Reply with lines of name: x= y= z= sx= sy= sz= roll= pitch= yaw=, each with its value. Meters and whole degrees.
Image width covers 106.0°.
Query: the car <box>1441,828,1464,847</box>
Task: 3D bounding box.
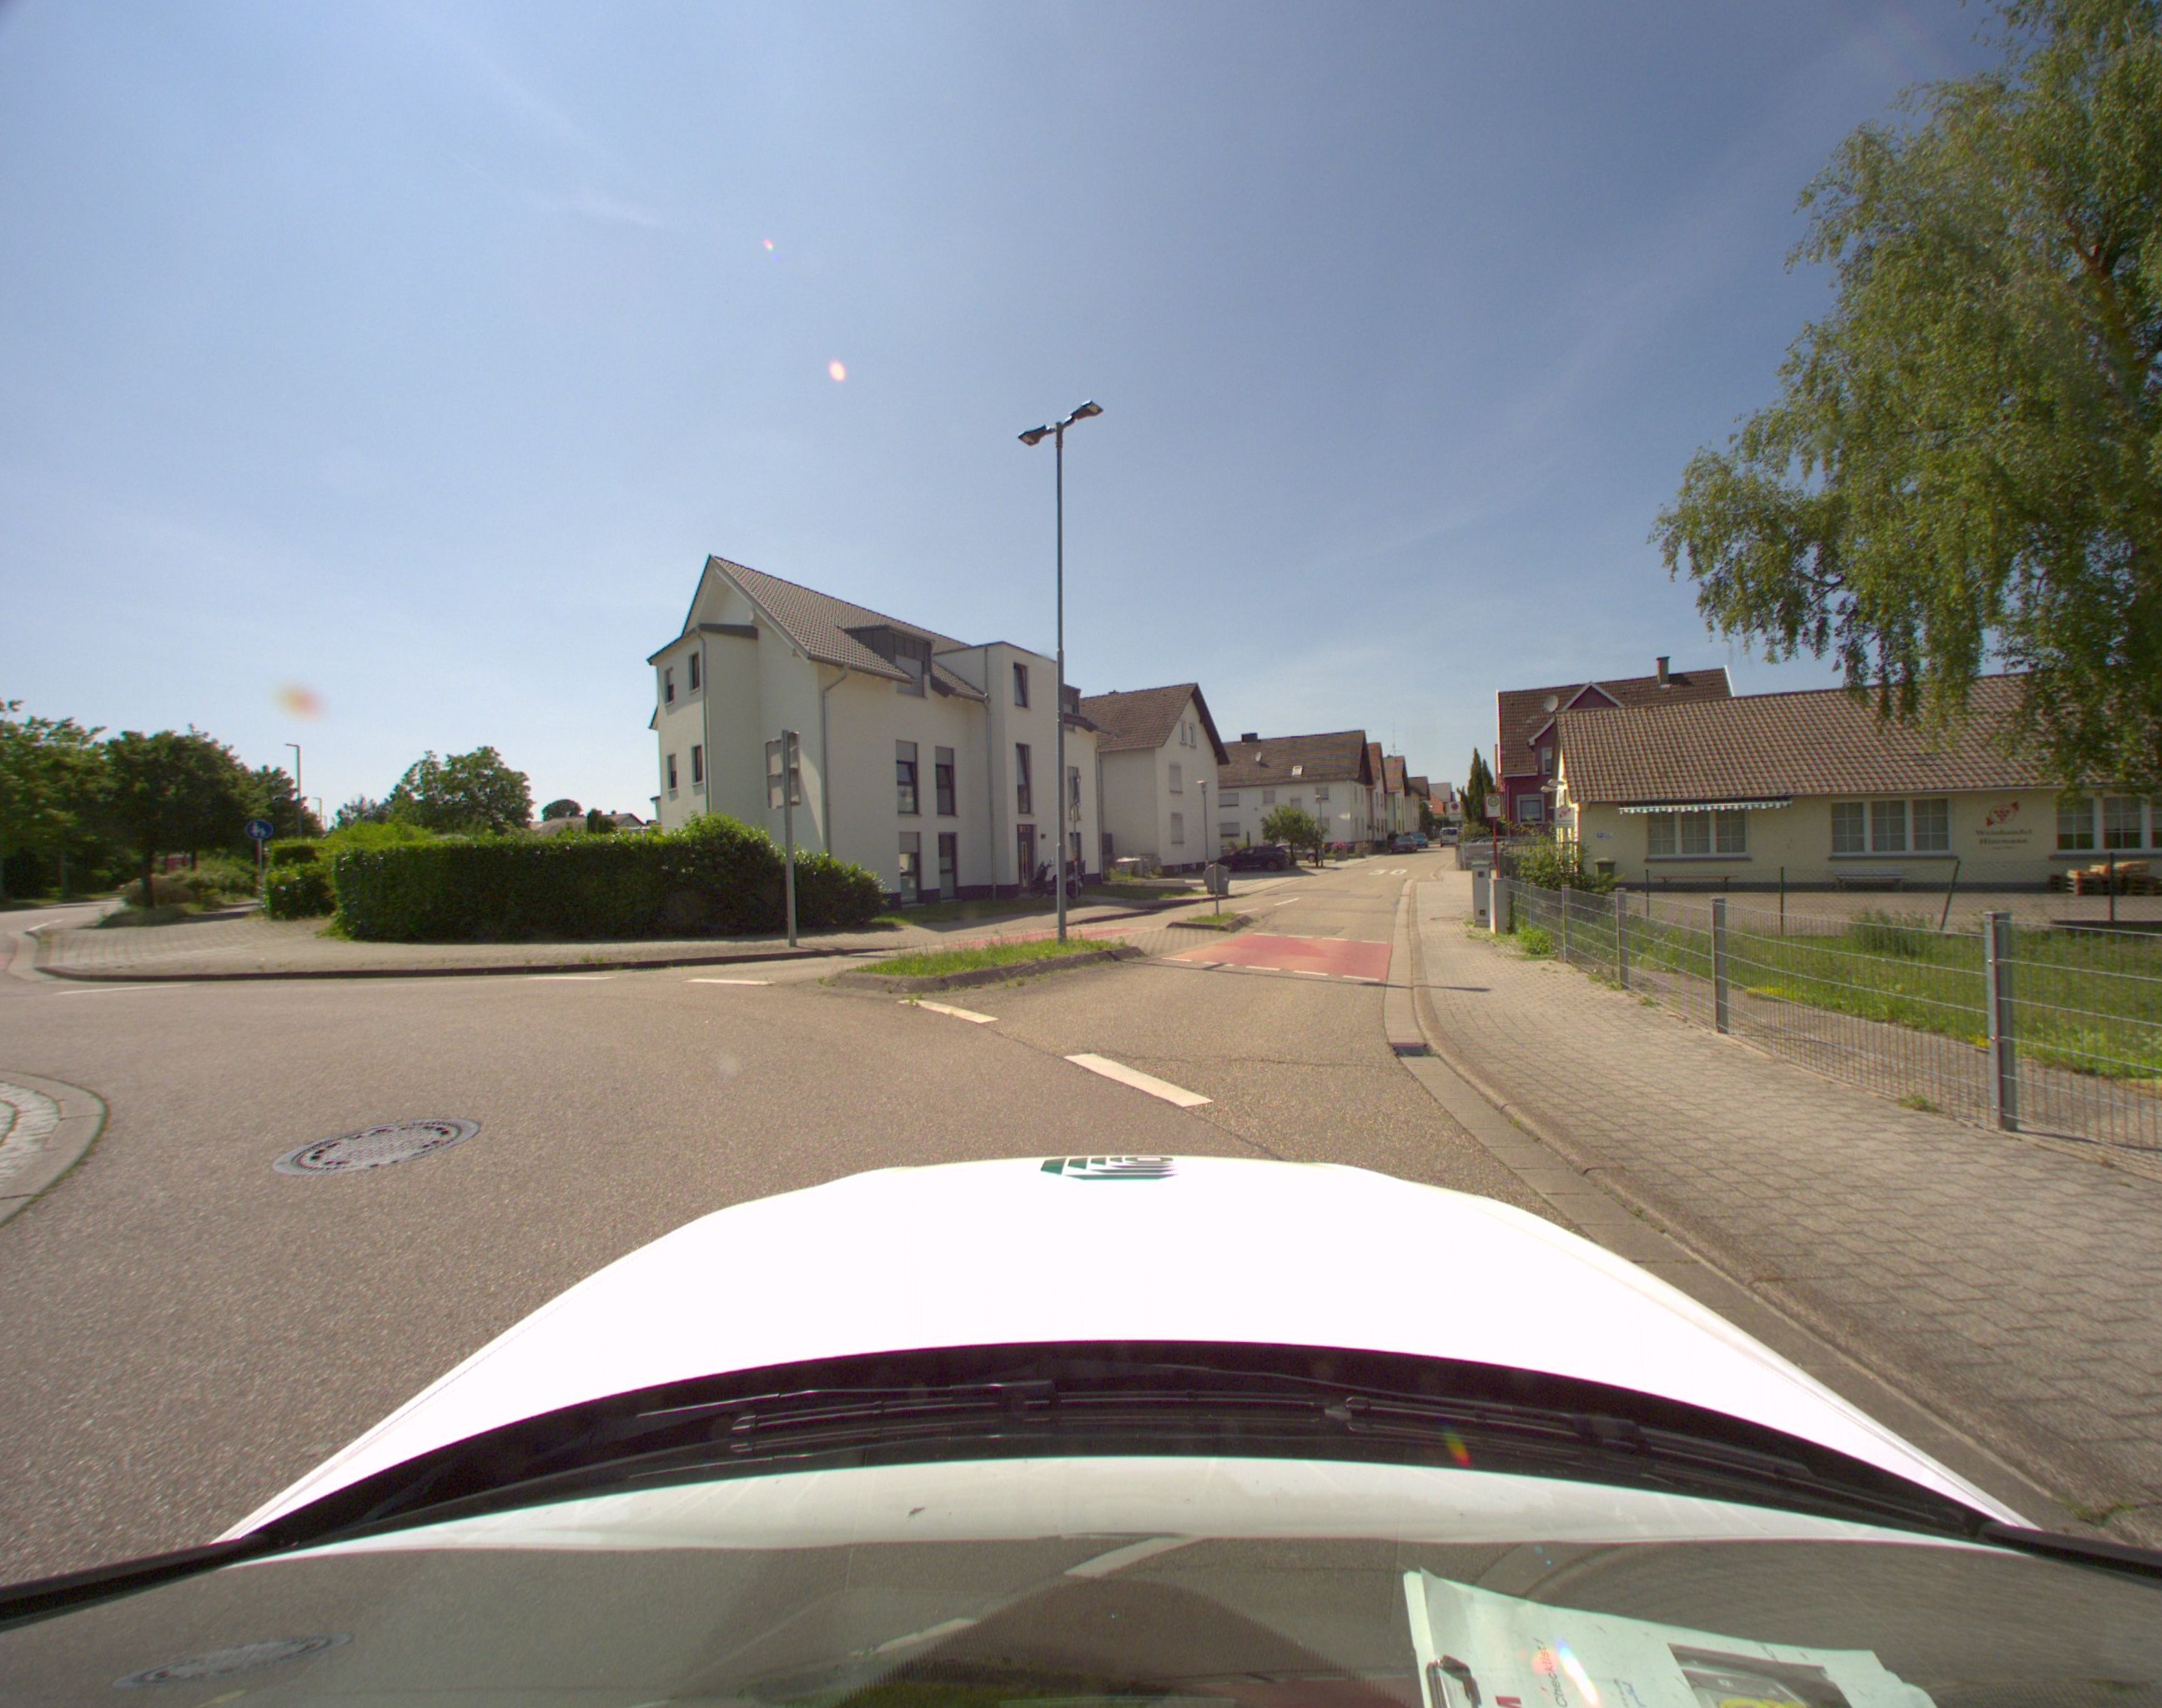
car: x=38.248 y=-1.694 z=83.766 sx=1.834 sy=1.787 sz=4.024 roll=-2 pitch=-1 yaw=27

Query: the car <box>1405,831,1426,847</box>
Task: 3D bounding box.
car: x=34.972 y=-1.594 z=85.163 sx=1.907 sy=1.604 sz=4.021 roll=-1 pitch=0 yaw=22

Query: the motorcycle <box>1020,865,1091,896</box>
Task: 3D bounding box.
motorcycle: x=-0.868 y=0.892 z=27.186 sx=2.338 sy=1.013 sz=0.676 roll=-1 pitch=-2 yaw=31

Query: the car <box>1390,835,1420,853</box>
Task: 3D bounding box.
car: x=28.659 y=-0.908 z=71.908 sx=1.975 sy=1.553 sz=4.025 roll=-1 pitch=1 yaw=28

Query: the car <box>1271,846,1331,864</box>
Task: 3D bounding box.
car: x=16.044 y=0.079 z=59.441 sx=3.951 sy=1.190 sz=1.851 roll=-1 pitch=0 yaw=25

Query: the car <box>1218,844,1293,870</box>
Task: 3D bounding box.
car: x=10.238 y=0.187 z=47.755 sx=3.951 sy=1.383 sz=1.670 roll=-1 pitch=0 yaw=25

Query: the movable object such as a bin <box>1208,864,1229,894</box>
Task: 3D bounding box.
movable object such as a bin: x=5.183 y=0.935 z=30.684 sx=0.639 sy=1.083 sz=0.462 roll=-1 pitch=0 yaw=35

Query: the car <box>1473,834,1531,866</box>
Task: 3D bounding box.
car: x=22.716 y=-0.202 z=43.975 sx=2.718 sy=1.598 sz=1.178 roll=-2 pitch=-1 yaw=27
